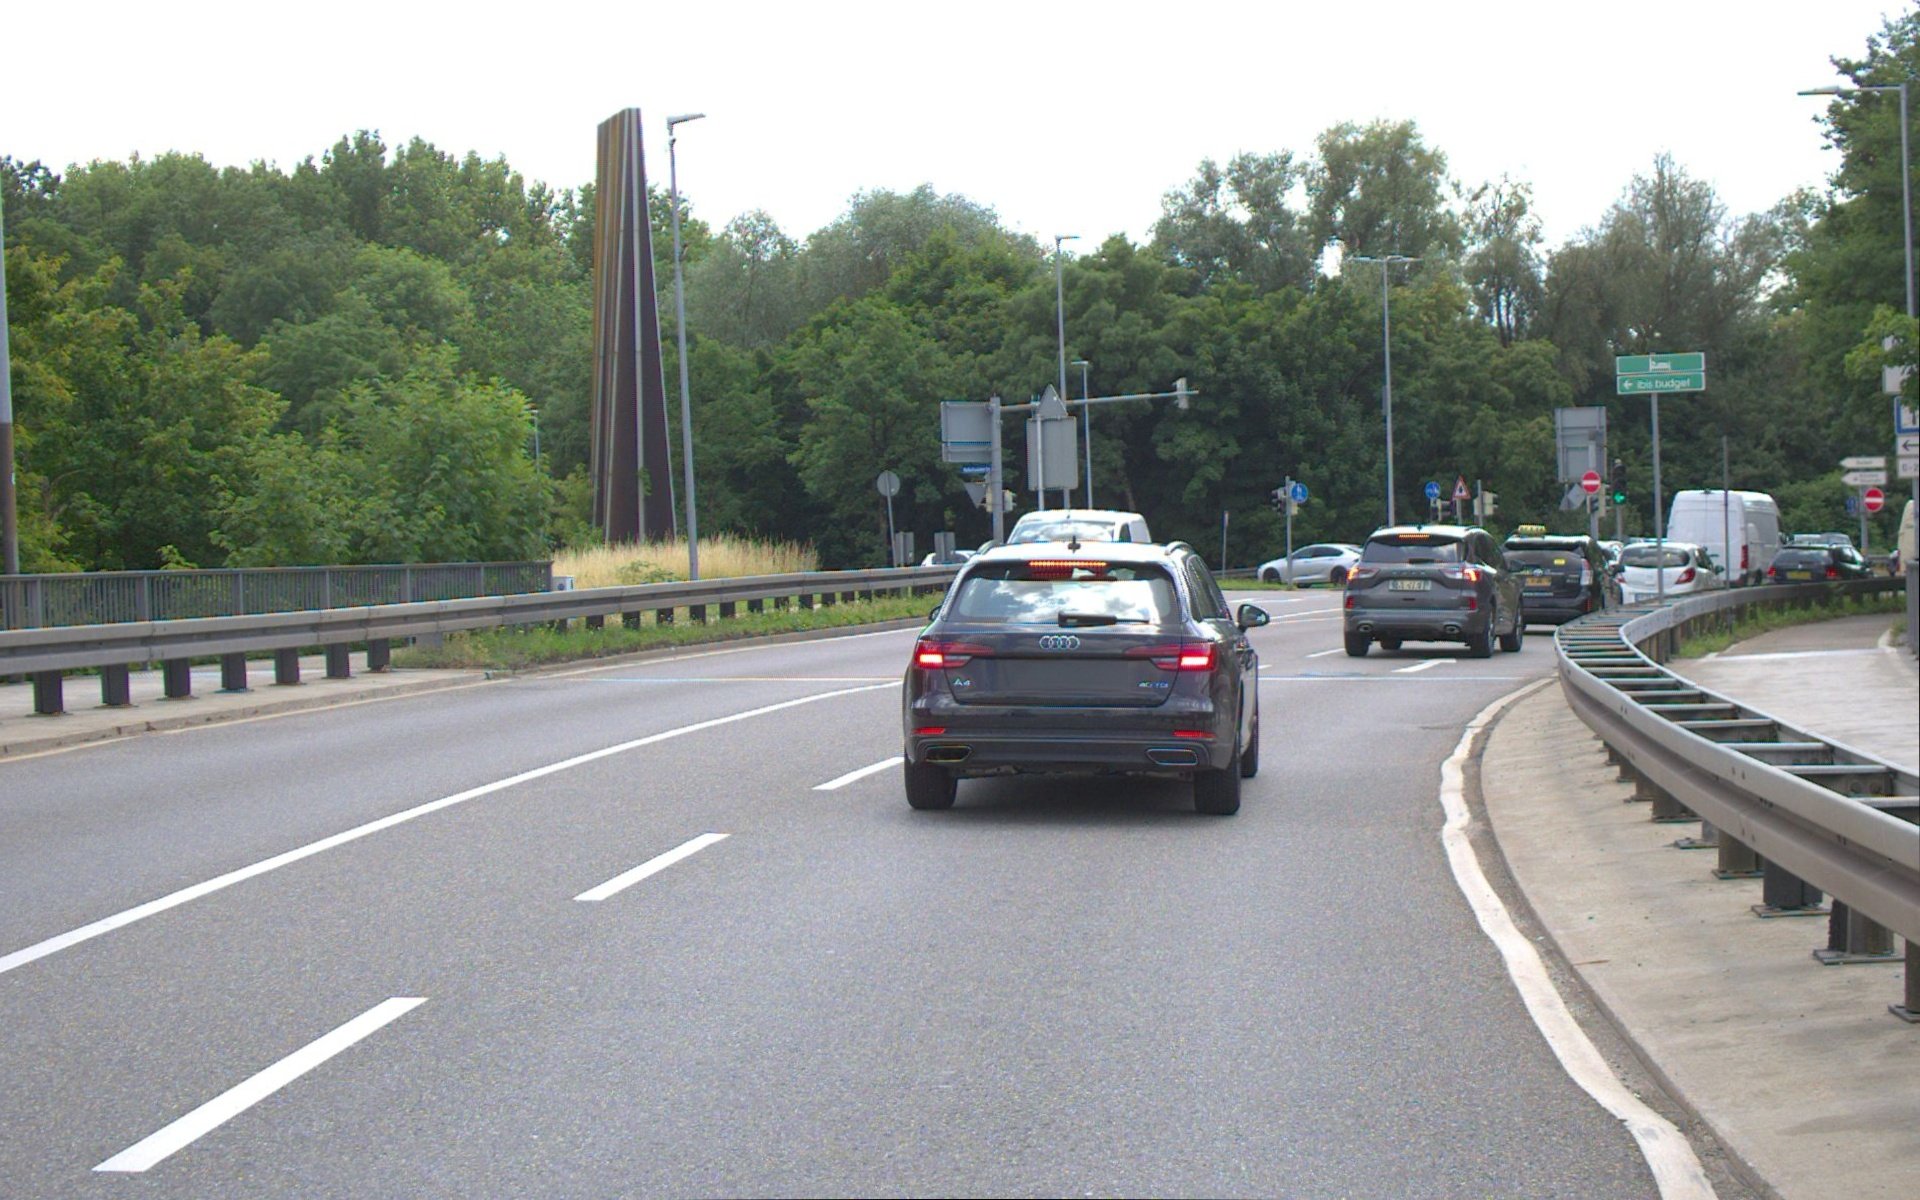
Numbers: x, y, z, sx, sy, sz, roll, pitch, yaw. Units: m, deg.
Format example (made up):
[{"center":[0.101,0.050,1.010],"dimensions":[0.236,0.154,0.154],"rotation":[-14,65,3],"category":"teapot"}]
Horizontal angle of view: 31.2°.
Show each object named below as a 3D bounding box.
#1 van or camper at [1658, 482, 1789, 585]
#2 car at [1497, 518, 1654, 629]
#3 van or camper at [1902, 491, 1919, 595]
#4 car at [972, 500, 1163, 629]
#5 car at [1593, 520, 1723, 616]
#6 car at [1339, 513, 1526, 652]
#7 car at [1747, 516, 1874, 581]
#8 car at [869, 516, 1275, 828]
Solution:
[{"center":[18.216,-1.592,81.827],"dimensions":[2.275,2.332,5.235],"rotation":[2,2,21],"category":"van or camper"},{"center":[9.632,-0.439,53.628],"dimensions":[1.735,1.646,3.852],"rotation":[1,1,20],"category":"car"},{"center":[25.460,-1.426,86.613],"dimensions":[1.998,2.581,4.081],"rotation":[2,2,36],"category":"van or camper"},{"center":[1.605,-0.541,49.593],"dimensions":[1.814,1.748,4.303],"rotation":[1,1,15],"category":"car"},{"center":[12.883,-0.616,63.311],"dimensions":[1.735,1.646,3.852],"rotation":[3,2,20],"category":"car"},{"center":[6.053,-0.256,43.743],"dimensions":[1.822,1.646,3.853],"rotation":[1,1,16],"category":"car"},{"center":[18.835,-1.138,76.032],"dimensions":[1.686,1.393,3.672],"rotation":[1,1,32],"category":"car"},{"center":[0.746,0.304,19.336],"dimensions":[1.828,1.486,4.206],"rotation":[1,2,8],"category":"car"}]
